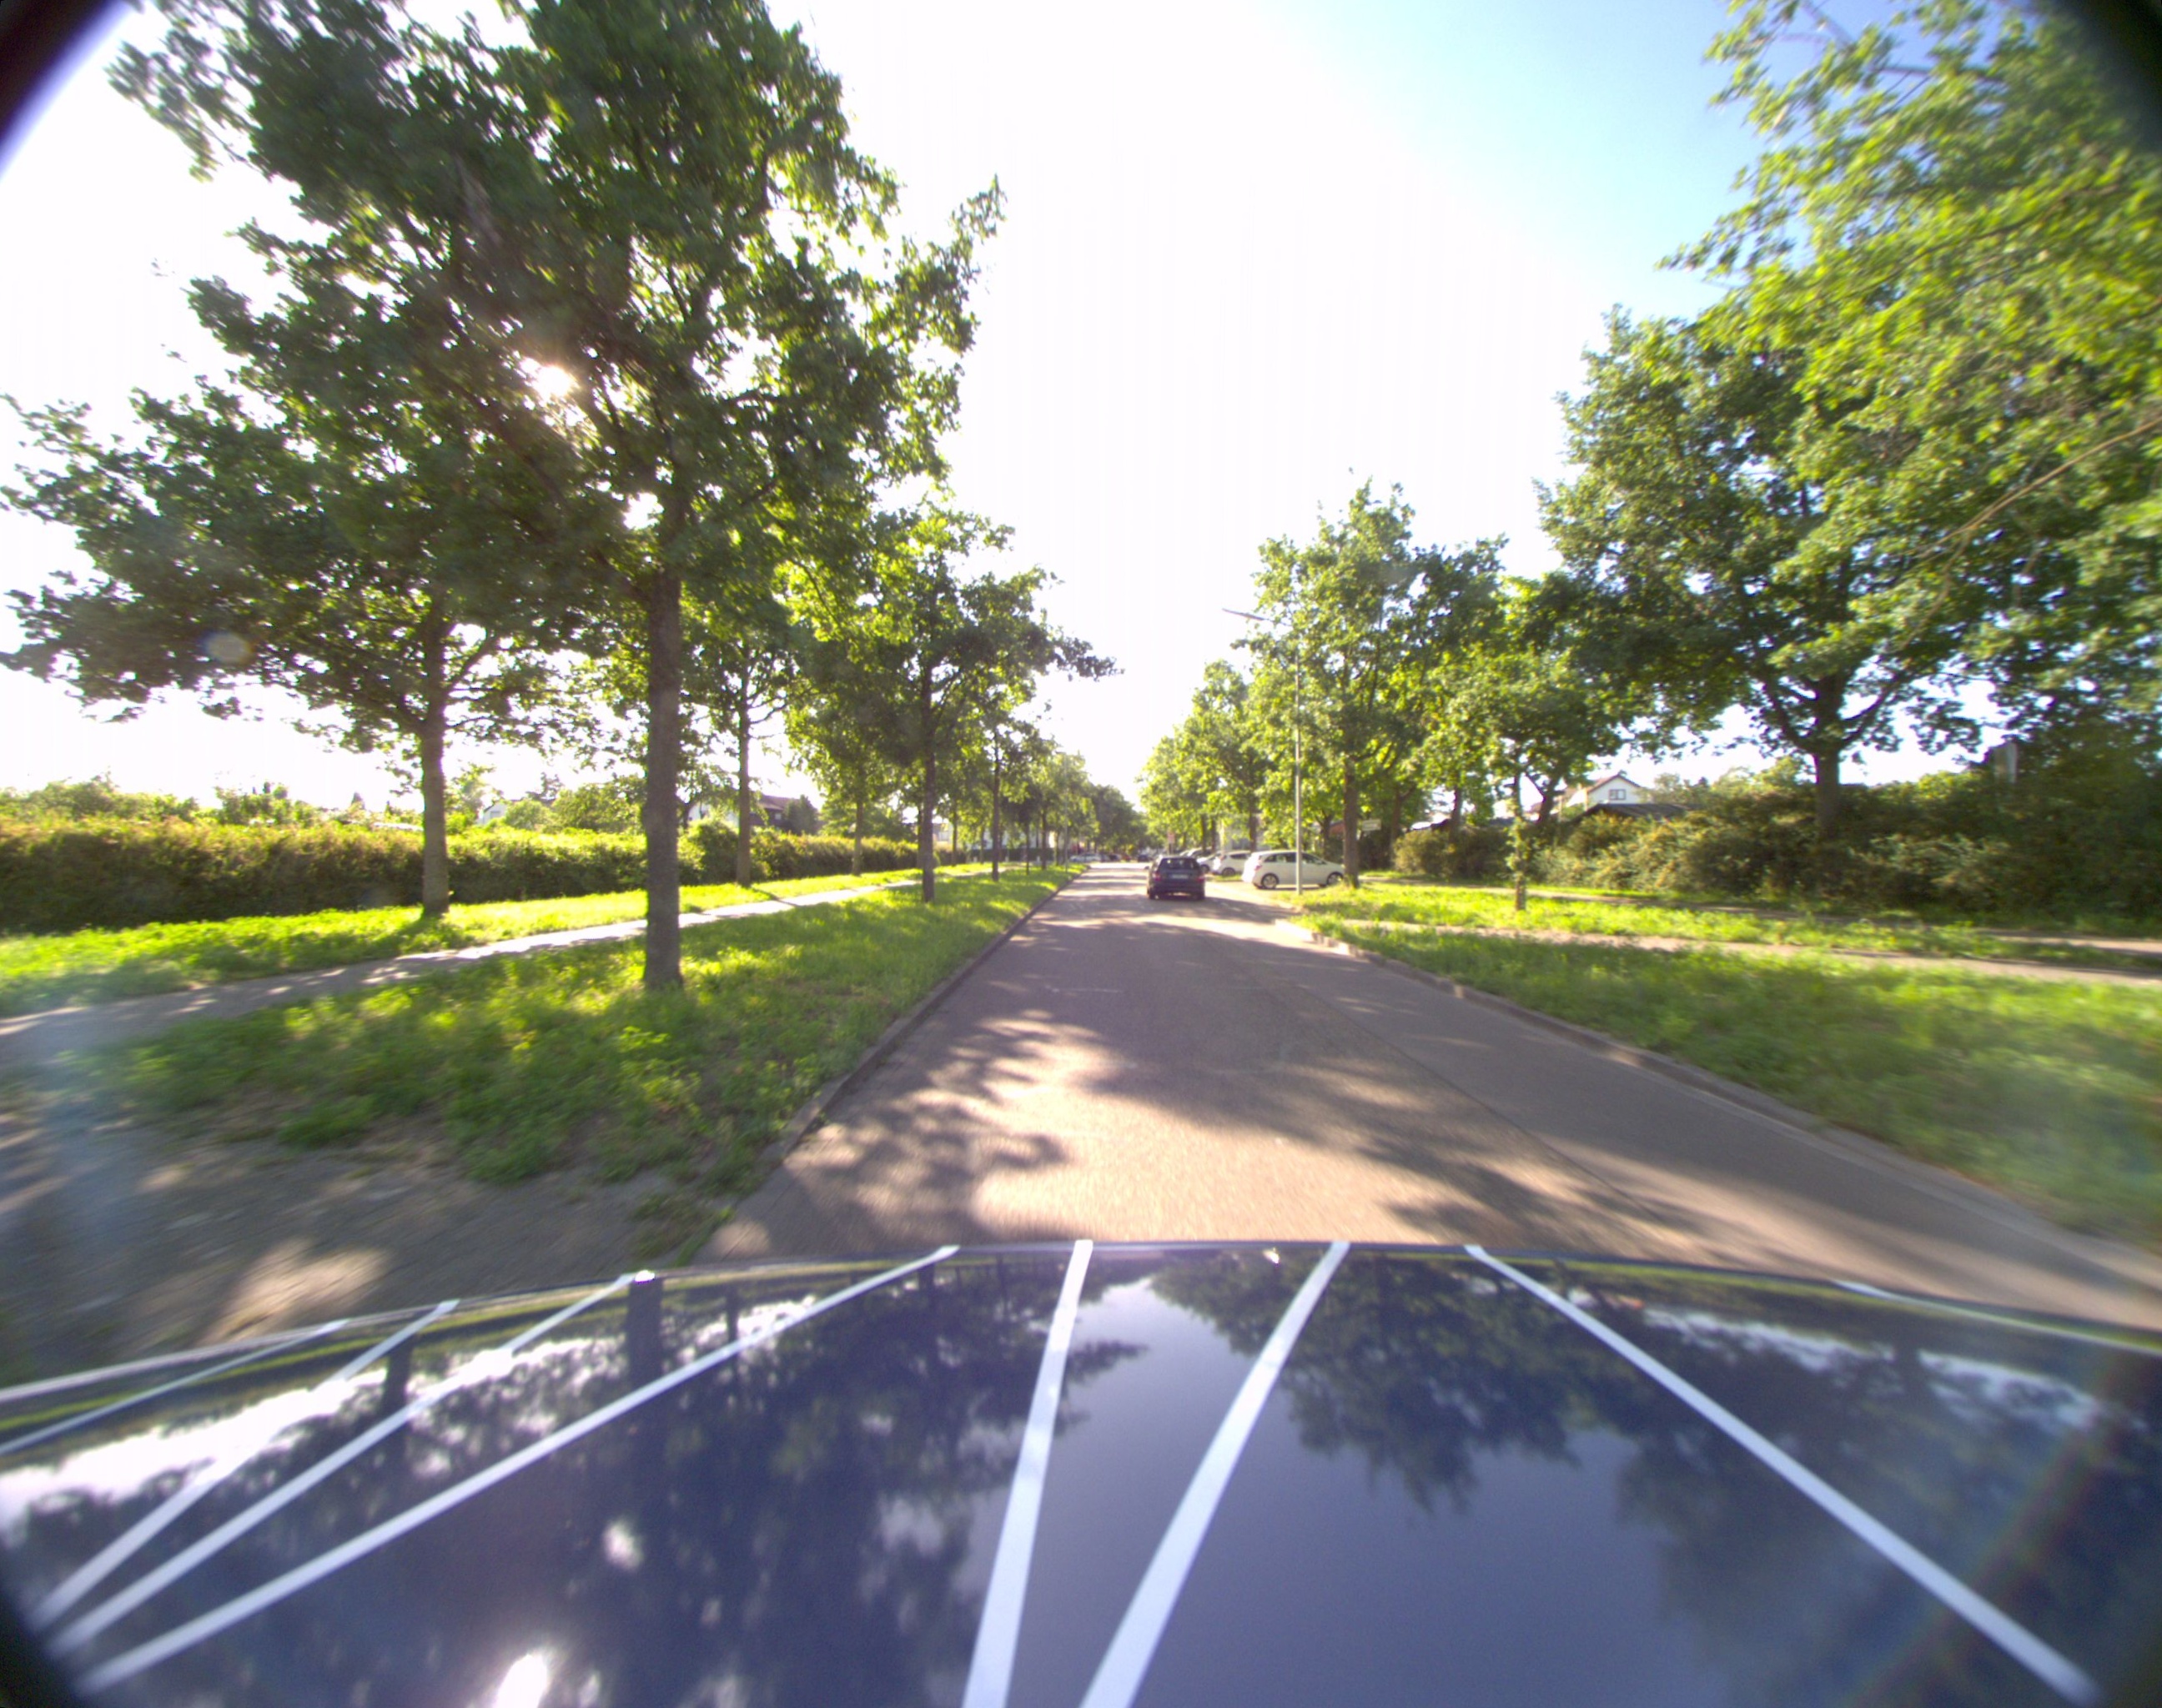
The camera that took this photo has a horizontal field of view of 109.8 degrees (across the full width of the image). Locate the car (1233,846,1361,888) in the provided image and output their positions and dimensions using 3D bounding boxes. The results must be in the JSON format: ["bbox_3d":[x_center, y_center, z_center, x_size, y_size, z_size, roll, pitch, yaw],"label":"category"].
[{"bbox_3d":[8.907,0.527,31.615,4.639,1.549,2.191,-2,0,-2],"label":"car"}]

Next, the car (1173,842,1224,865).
[{"bbox_3d":[10.494,-0.018,67.853,4.237,1.872,1.999,-2,1,2],"label":"car"}]

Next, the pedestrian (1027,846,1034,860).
[{"bbox_3d":[-6.607,-0.152,99.510,0.869,1.855,0.665,0,1,-4],"label":"pedestrian"}]

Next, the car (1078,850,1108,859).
[{"bbox_3d":[1.909,0.049,117.635,4.510,1.471,1.942,0,1,4],"label":"car"}]

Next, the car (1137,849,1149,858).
[{"bbox_3d":[9.689,-0.093,119.302,1.688,1.394,4.427,0,0,2],"label":"car"}]

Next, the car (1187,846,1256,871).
[{"bbox_3d":[9.666,0.290,52.585,4.422,1.547,2.088,-2,1,4],"label":"car"}]

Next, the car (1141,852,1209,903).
[{"bbox_3d":[3.026,0.712,25.282,1.769,1.520,4.495,1,0,1],"label":"car"}]

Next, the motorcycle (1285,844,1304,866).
[{"bbox_3d":[14.664,0.079,52.164,0.739,1.424,1.991,-4,1,3],"label":"motorcycle"}]

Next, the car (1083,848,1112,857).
[{"bbox_3d":[2.644,-0.238,122.639,4.510,1.471,1.942,0,1,4],"label":"car"}]

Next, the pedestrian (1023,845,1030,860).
[{"bbox_3d":[-7.221,-0.234,100.523,0.834,2.002,0.611,0,1,-2],"label":"pedestrian"}]

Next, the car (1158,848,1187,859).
[{"bbox_3d":[12.898,-0.077,106.985,4.033,1.471,1.942,0,1,8],"label":"car"}]

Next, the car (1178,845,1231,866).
[{"bbox_3d":[10.140,0.136,62.759,4.145,1.547,1.866,-2,1,4],"label":"car"}]

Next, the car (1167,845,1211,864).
[{"bbox_3d":[10.352,0.047,73.253,4.072,1.633,1.876,-2,1,4],"label":"car"}]

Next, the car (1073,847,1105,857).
[{"bbox_3d":[1.127,-0.283,108.993,4.510,1.471,1.942,0,1,4],"label":"car"}]

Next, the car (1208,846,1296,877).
[{"bbox_3d":[9.462,0.412,42.301,4.423,1.502,2.088,-2,0,1],"label":"car"}]
